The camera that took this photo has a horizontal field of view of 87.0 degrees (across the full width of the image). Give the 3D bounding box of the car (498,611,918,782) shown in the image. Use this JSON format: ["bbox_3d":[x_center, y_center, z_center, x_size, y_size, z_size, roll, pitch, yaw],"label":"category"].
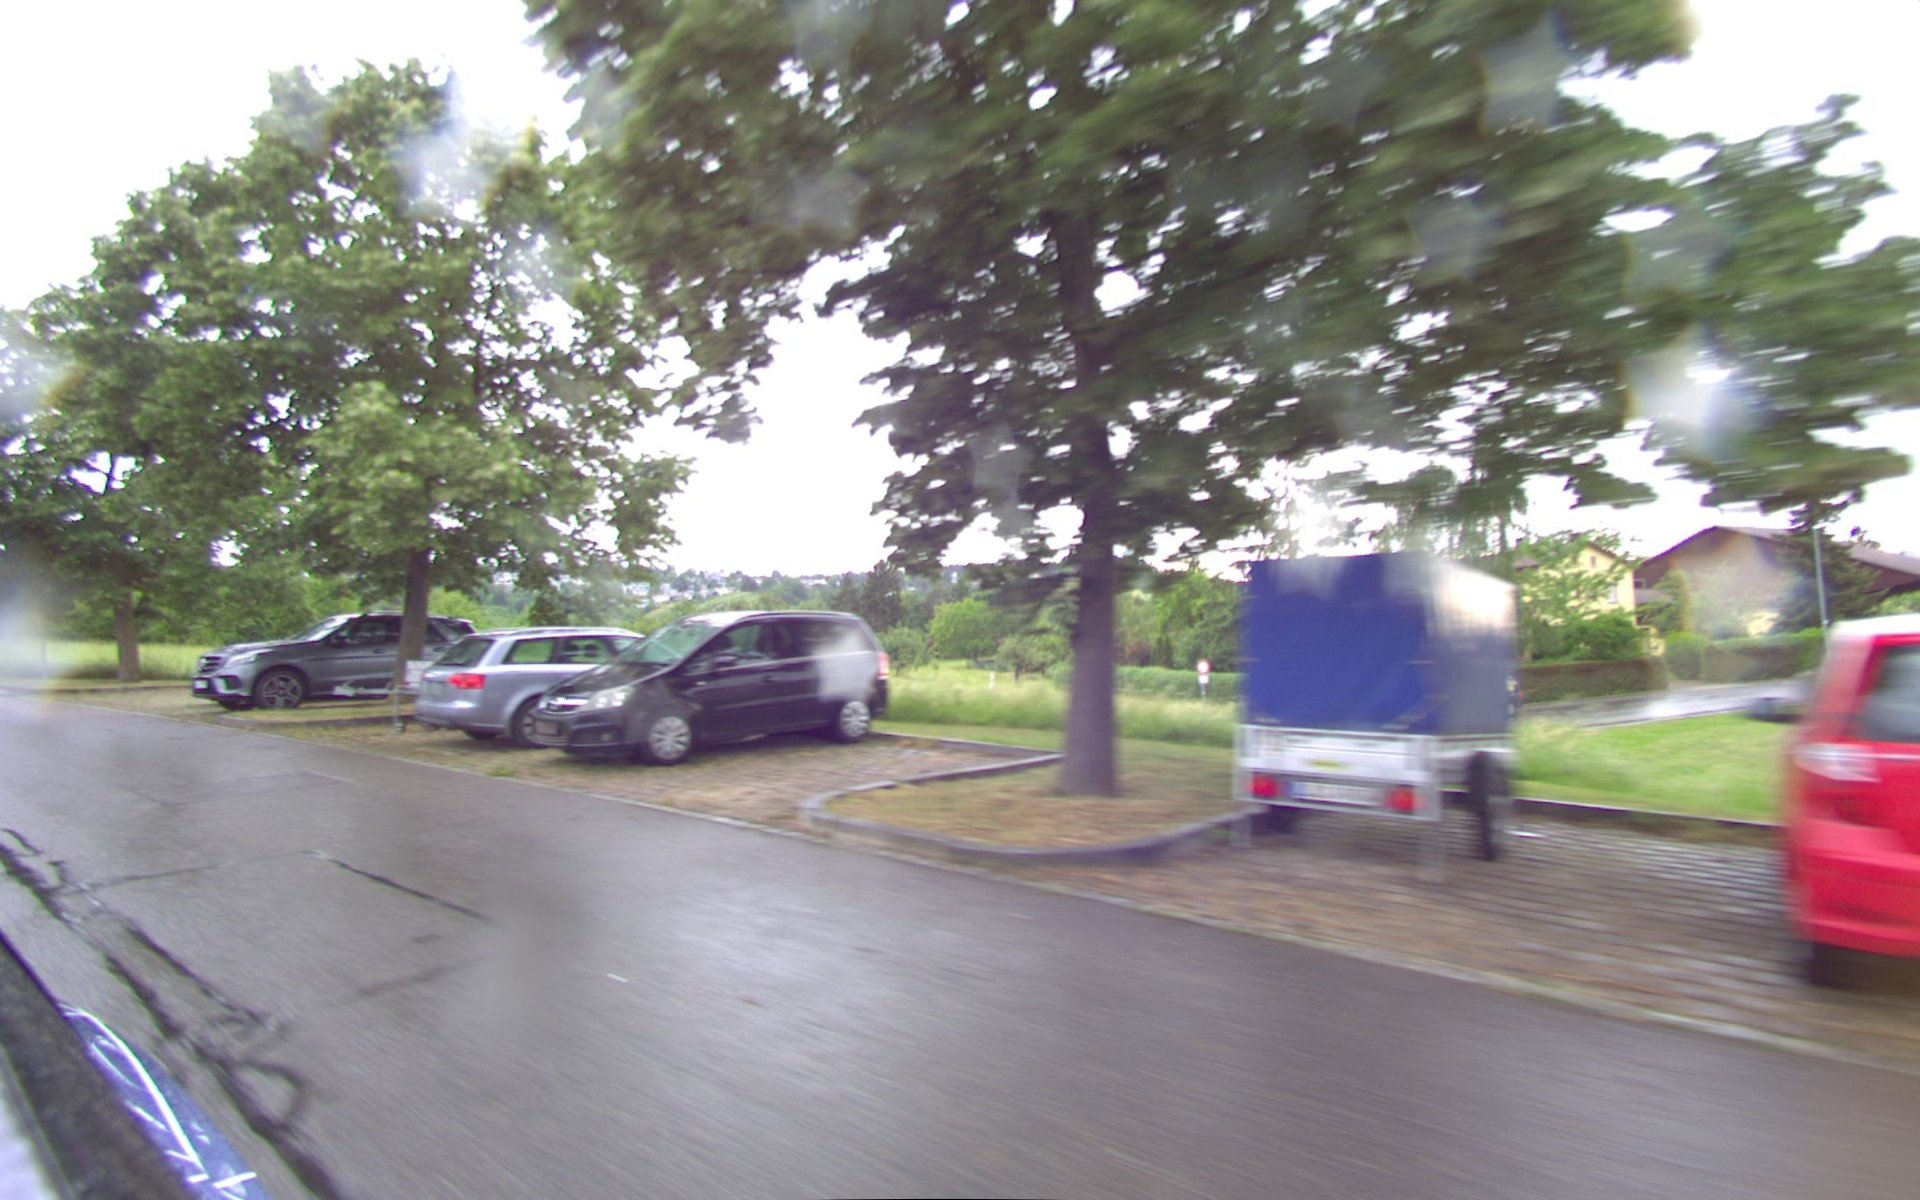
[{"bbox_3d":[-2.709,0.940,11.826,1.805,1.602,4.569,-1,-1,41],"label":"car"}]

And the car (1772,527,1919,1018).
[{"bbox_3d":[5.113,0.701,4.888,1.753,1.735,4.155,-1,-3,38],"label":"car"}]

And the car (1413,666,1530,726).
[{"bbox_3d":[20.398,3.820,40.348,4.425,2.237,1.936,4,-5,-27],"label":"car"}]

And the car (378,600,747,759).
[{"bbox_3d":[-5.046,0.893,13.237,2.025,1.735,4.030,-1,-1,42],"label":"car"}]

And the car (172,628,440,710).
[{"bbox_3d":[-13.027,1.317,20.429,1.769,1.442,4.178,0,-2,33],"label":"car"}]

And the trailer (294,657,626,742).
[{"bbox_3d":[-7.170,1.363,14.816,1.998,0.968,3.902,-2,-3,39],"label":"trailer"}]

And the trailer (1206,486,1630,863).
[{"bbox_3d":[3.627,0.497,7.549,1.773,1.999,4.168,-1,-3,41],"label":"trailer"}]

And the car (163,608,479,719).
[{"bbox_3d":[-11.326,1.106,18.210,2.041,1.735,4.327,-1,-3,37],"label":"car"}]
